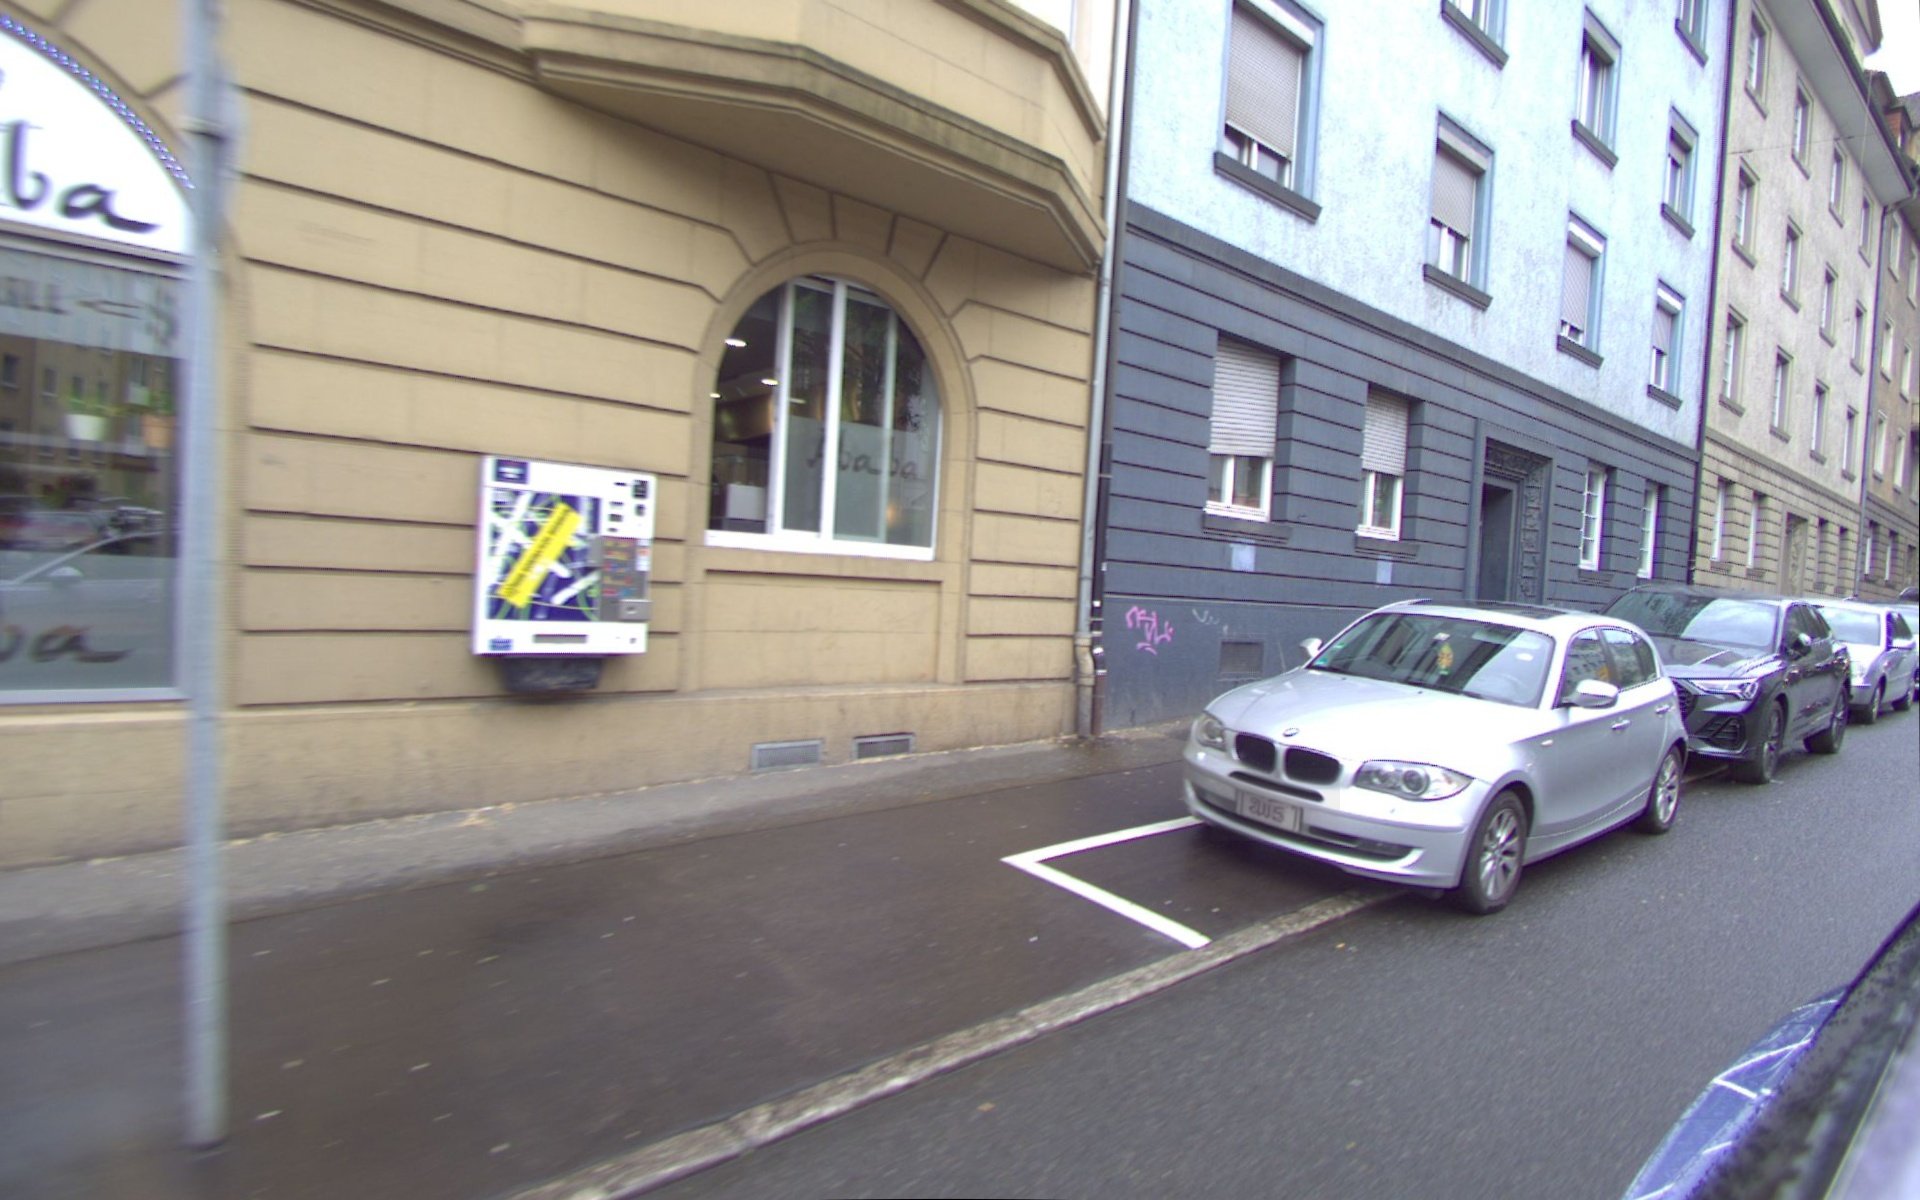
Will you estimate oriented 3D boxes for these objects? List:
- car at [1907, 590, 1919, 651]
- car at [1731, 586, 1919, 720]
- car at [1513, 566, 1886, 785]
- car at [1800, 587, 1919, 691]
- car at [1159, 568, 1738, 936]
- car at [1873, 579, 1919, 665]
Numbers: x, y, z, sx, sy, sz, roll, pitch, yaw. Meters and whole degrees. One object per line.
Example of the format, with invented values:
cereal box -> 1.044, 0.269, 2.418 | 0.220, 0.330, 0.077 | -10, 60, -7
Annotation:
car -> 24.579, 0.537, 24.533 | 4.311, 1.426, 1.845 | 0, 5, -41
car -> 11.913, 0.614, 13.653 | 3.531, 1.446, 1.587 | 0, 5, -40
car -> 7.209, 0.543, 9.713 | 4.216, 1.576, 1.823 | 0, 4, -40
car -> 15.527, 0.589, 16.756 | 3.903, 1.446, 1.734 | 0, 5, -40
car -> 3.159, 0.622, 6.167 | 4.016, 1.481, 1.574 | 0, 4, -40
car -> 20.284, 0.435, 20.696 | 4.135, 1.640, 1.845 | -1, 4, -41
